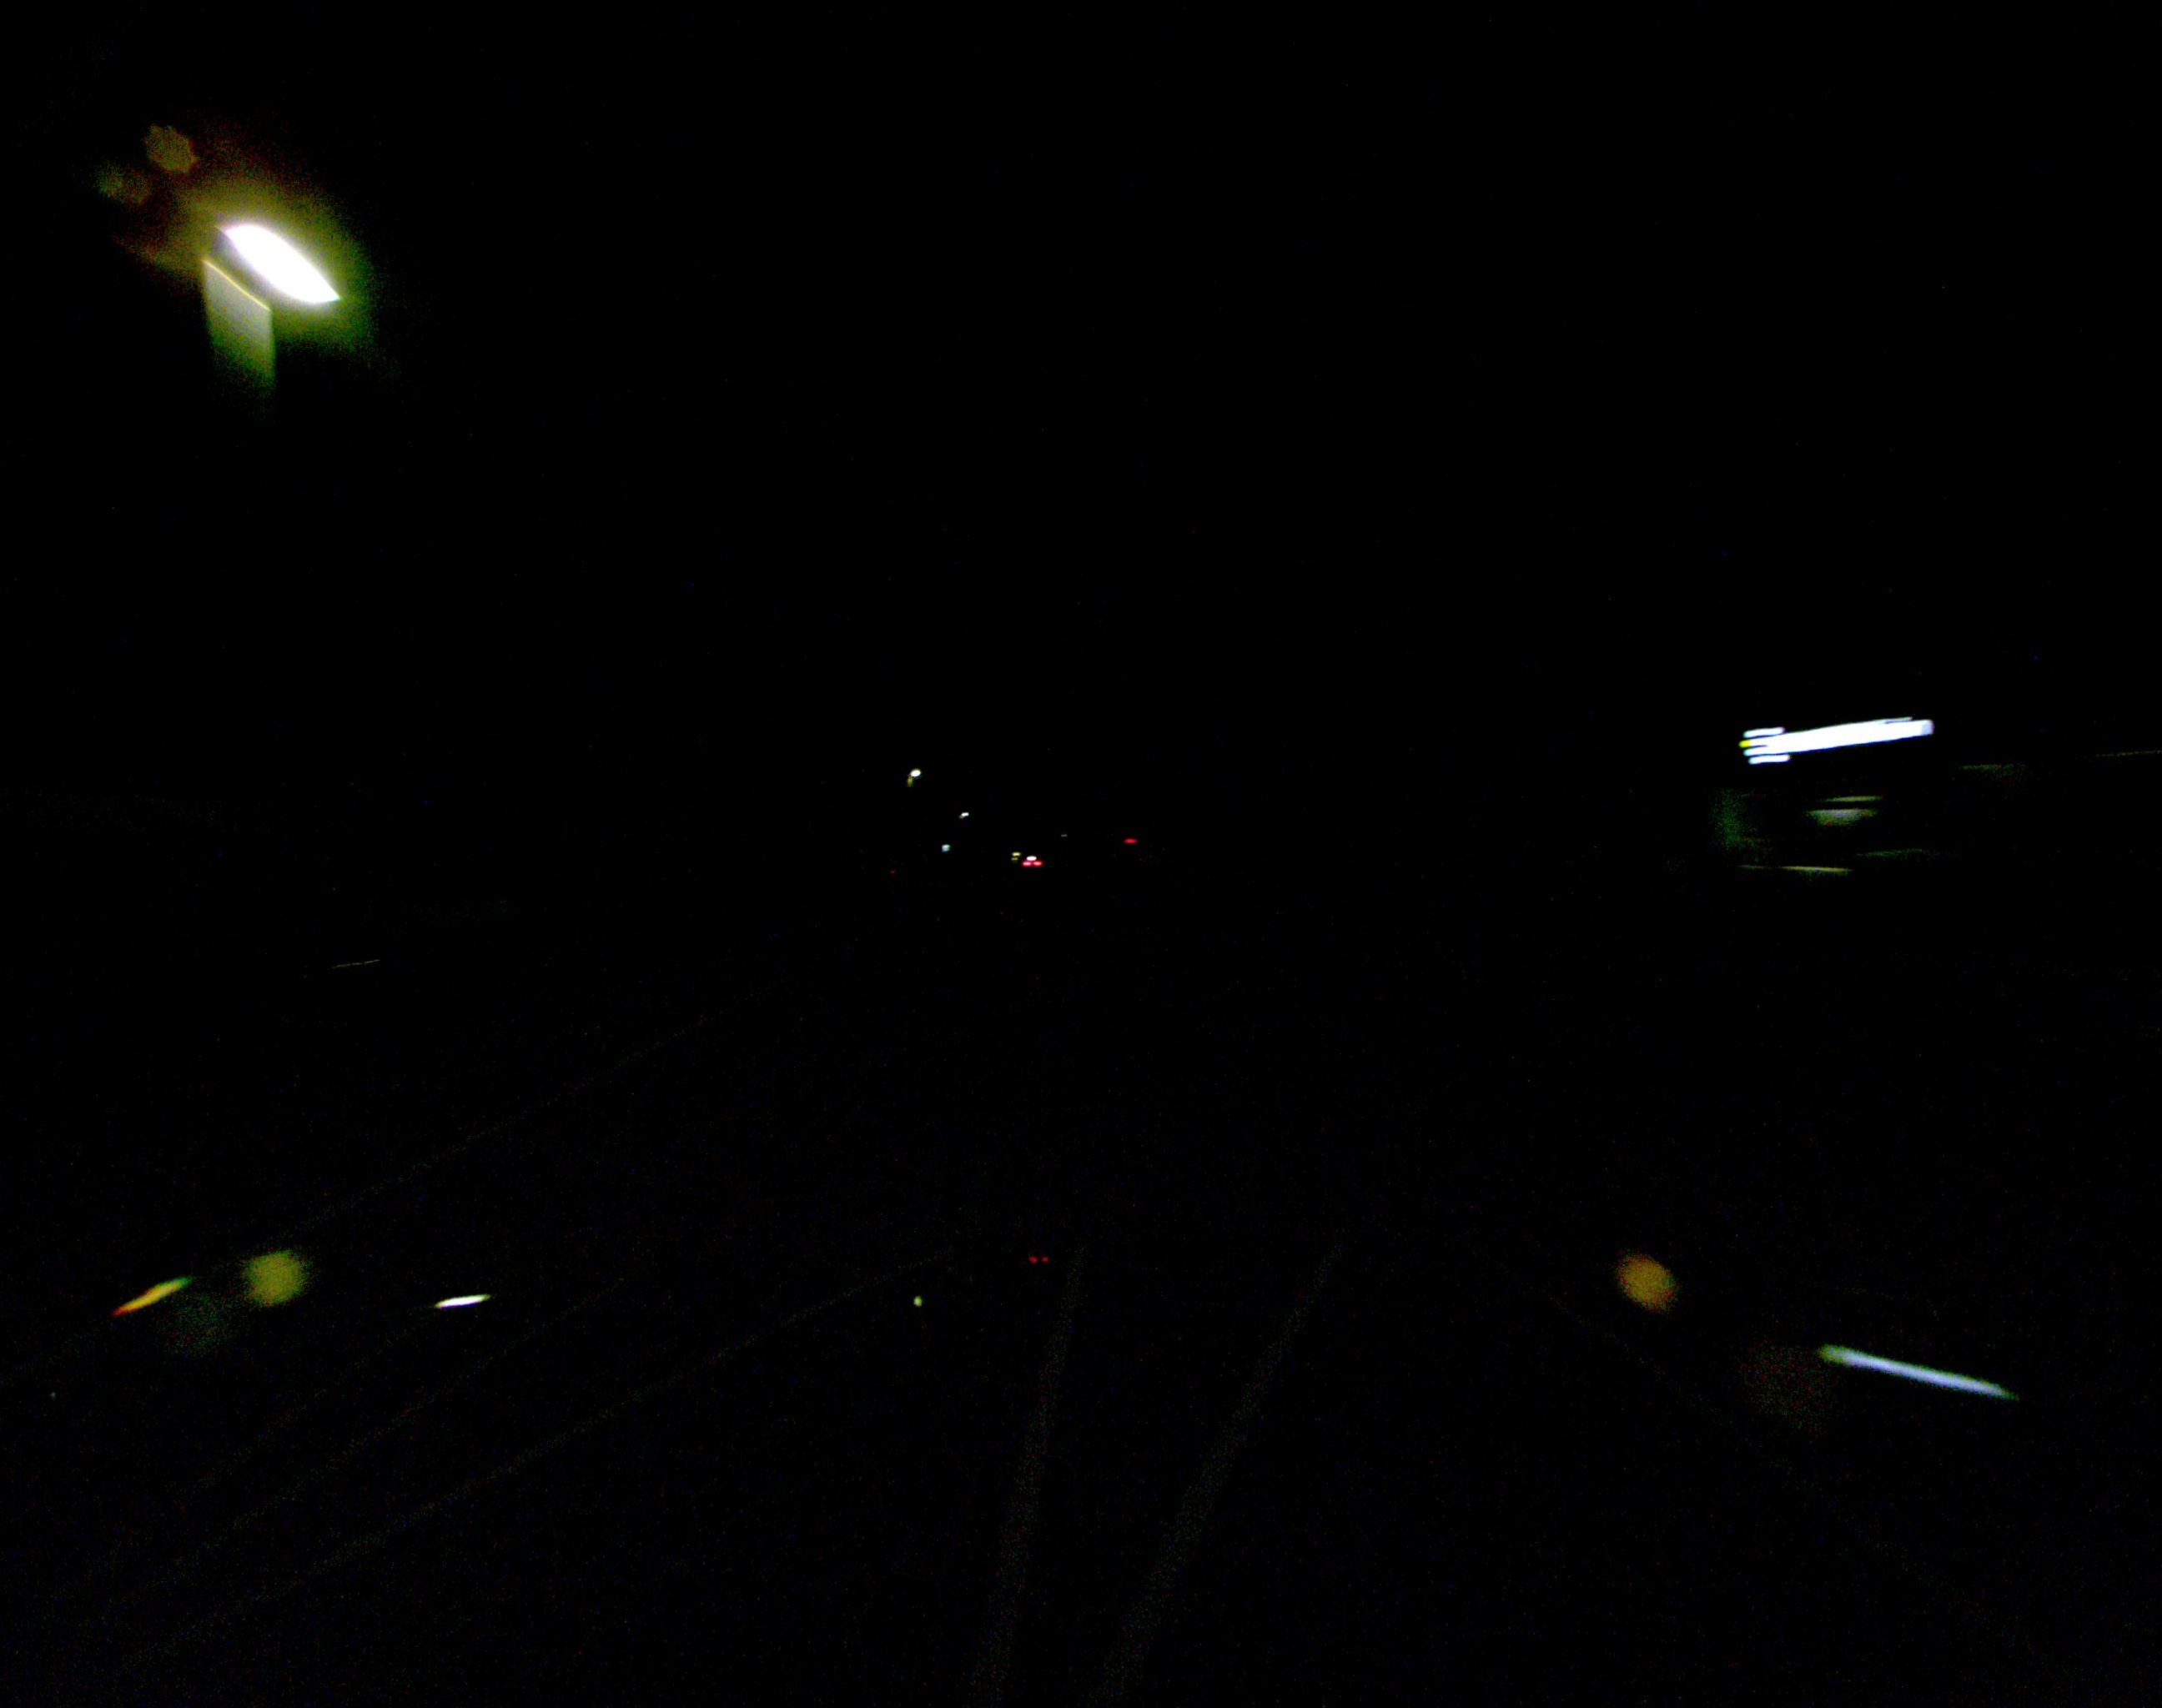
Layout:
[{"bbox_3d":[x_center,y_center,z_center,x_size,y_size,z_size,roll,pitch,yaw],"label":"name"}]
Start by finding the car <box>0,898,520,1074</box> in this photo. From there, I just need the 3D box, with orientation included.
[{"bbox_3d":[-7.718,1.151,7.213,3.402,1.225,1.723,-2,0,-6],"label":"car"}]

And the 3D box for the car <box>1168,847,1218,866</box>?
[{"bbox_3d":[9.735,0.219,66.402,3.997,1.608,2.000,-1,0,-1],"label":"car"}]

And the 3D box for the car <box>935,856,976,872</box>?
[{"bbox_3d":[-12.506,0.987,75.895,3.916,1.477,1.832,0,0,-5],"label":"car"}]

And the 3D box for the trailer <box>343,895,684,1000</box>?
[{"bbox_3d":[-8.106,1.297,11.193,3.442,0.996,1.953,-5,1,-4],"label":"trailer"}]

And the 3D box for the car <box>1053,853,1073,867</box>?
[{"bbox_3d":[-2.421,0.759,100.613,2.122,1.539,4.473,-5,1,-6],"label":"car"}]

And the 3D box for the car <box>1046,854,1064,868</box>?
[{"bbox_3d":[-3.892,0.974,112.683,2.122,1.935,4.885,-4,0,-6],"label":"car"}]

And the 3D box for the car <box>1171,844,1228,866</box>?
[{"bbox_3d":[9.395,0.063,60.407,4.127,1.652,1.999,0,0,-3],"label":"car"}]

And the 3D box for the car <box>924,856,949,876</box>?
[{"bbox_3d":[-11.830,0.966,62.315,1.644,1.551,3.676,-1,0,-5],"label":"car"}]

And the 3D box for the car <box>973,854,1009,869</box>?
[{"bbox_3d":[-11.626,0.945,98.043,4.365,1.805,2.031,-1,0,1],"label":"car"}]

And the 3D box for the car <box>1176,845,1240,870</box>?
[{"bbox_3d":[9.006,0.263,54.040,4.001,1.693,1.946,1,0,-11],"label":"car"}]

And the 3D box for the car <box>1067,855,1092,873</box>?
[{"bbox_3d":[-0.146,0.834,63.957,1.754,1.460,4.007,-2,0,-5],"label":"car"}]

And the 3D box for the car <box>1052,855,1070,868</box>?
[{"bbox_3d":[-2.820,1.051,105.783,2.122,1.660,4.167,-2,0,-6],"label":"car"}]

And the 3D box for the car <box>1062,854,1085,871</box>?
[{"bbox_3d":[-0.788,0.856,79.560,1.934,1.627,4.468,-3,0,-5],"label":"car"}]

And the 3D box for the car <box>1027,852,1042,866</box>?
[{"bbox_3d":[-6.305,0.649,103.210,2.008,1.738,4.556,-1,0,-3],"label":"car"}]

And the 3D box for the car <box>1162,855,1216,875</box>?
[{"bbox_3d":[8.903,0.930,62.874,3.998,1.455,1.999,-2,0,-3],"label":"car"}]

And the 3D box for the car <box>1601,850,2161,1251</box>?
[{"bbox_3d":[5.165,0.803,4.153,1.677,1.581,3.985,-2,1,-5],"label":"car"}]

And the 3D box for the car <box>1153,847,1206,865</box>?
[{"bbox_3d":[8.903,0.184,68.986,4.327,1.552,2.027,-1,0,-11],"label":"car"}]

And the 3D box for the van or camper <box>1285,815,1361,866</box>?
[{"bbox_3d":[14.163,-0.761,44.924,2.081,2.731,5.926,-2,0,-5],"label":"van or camper"}]
